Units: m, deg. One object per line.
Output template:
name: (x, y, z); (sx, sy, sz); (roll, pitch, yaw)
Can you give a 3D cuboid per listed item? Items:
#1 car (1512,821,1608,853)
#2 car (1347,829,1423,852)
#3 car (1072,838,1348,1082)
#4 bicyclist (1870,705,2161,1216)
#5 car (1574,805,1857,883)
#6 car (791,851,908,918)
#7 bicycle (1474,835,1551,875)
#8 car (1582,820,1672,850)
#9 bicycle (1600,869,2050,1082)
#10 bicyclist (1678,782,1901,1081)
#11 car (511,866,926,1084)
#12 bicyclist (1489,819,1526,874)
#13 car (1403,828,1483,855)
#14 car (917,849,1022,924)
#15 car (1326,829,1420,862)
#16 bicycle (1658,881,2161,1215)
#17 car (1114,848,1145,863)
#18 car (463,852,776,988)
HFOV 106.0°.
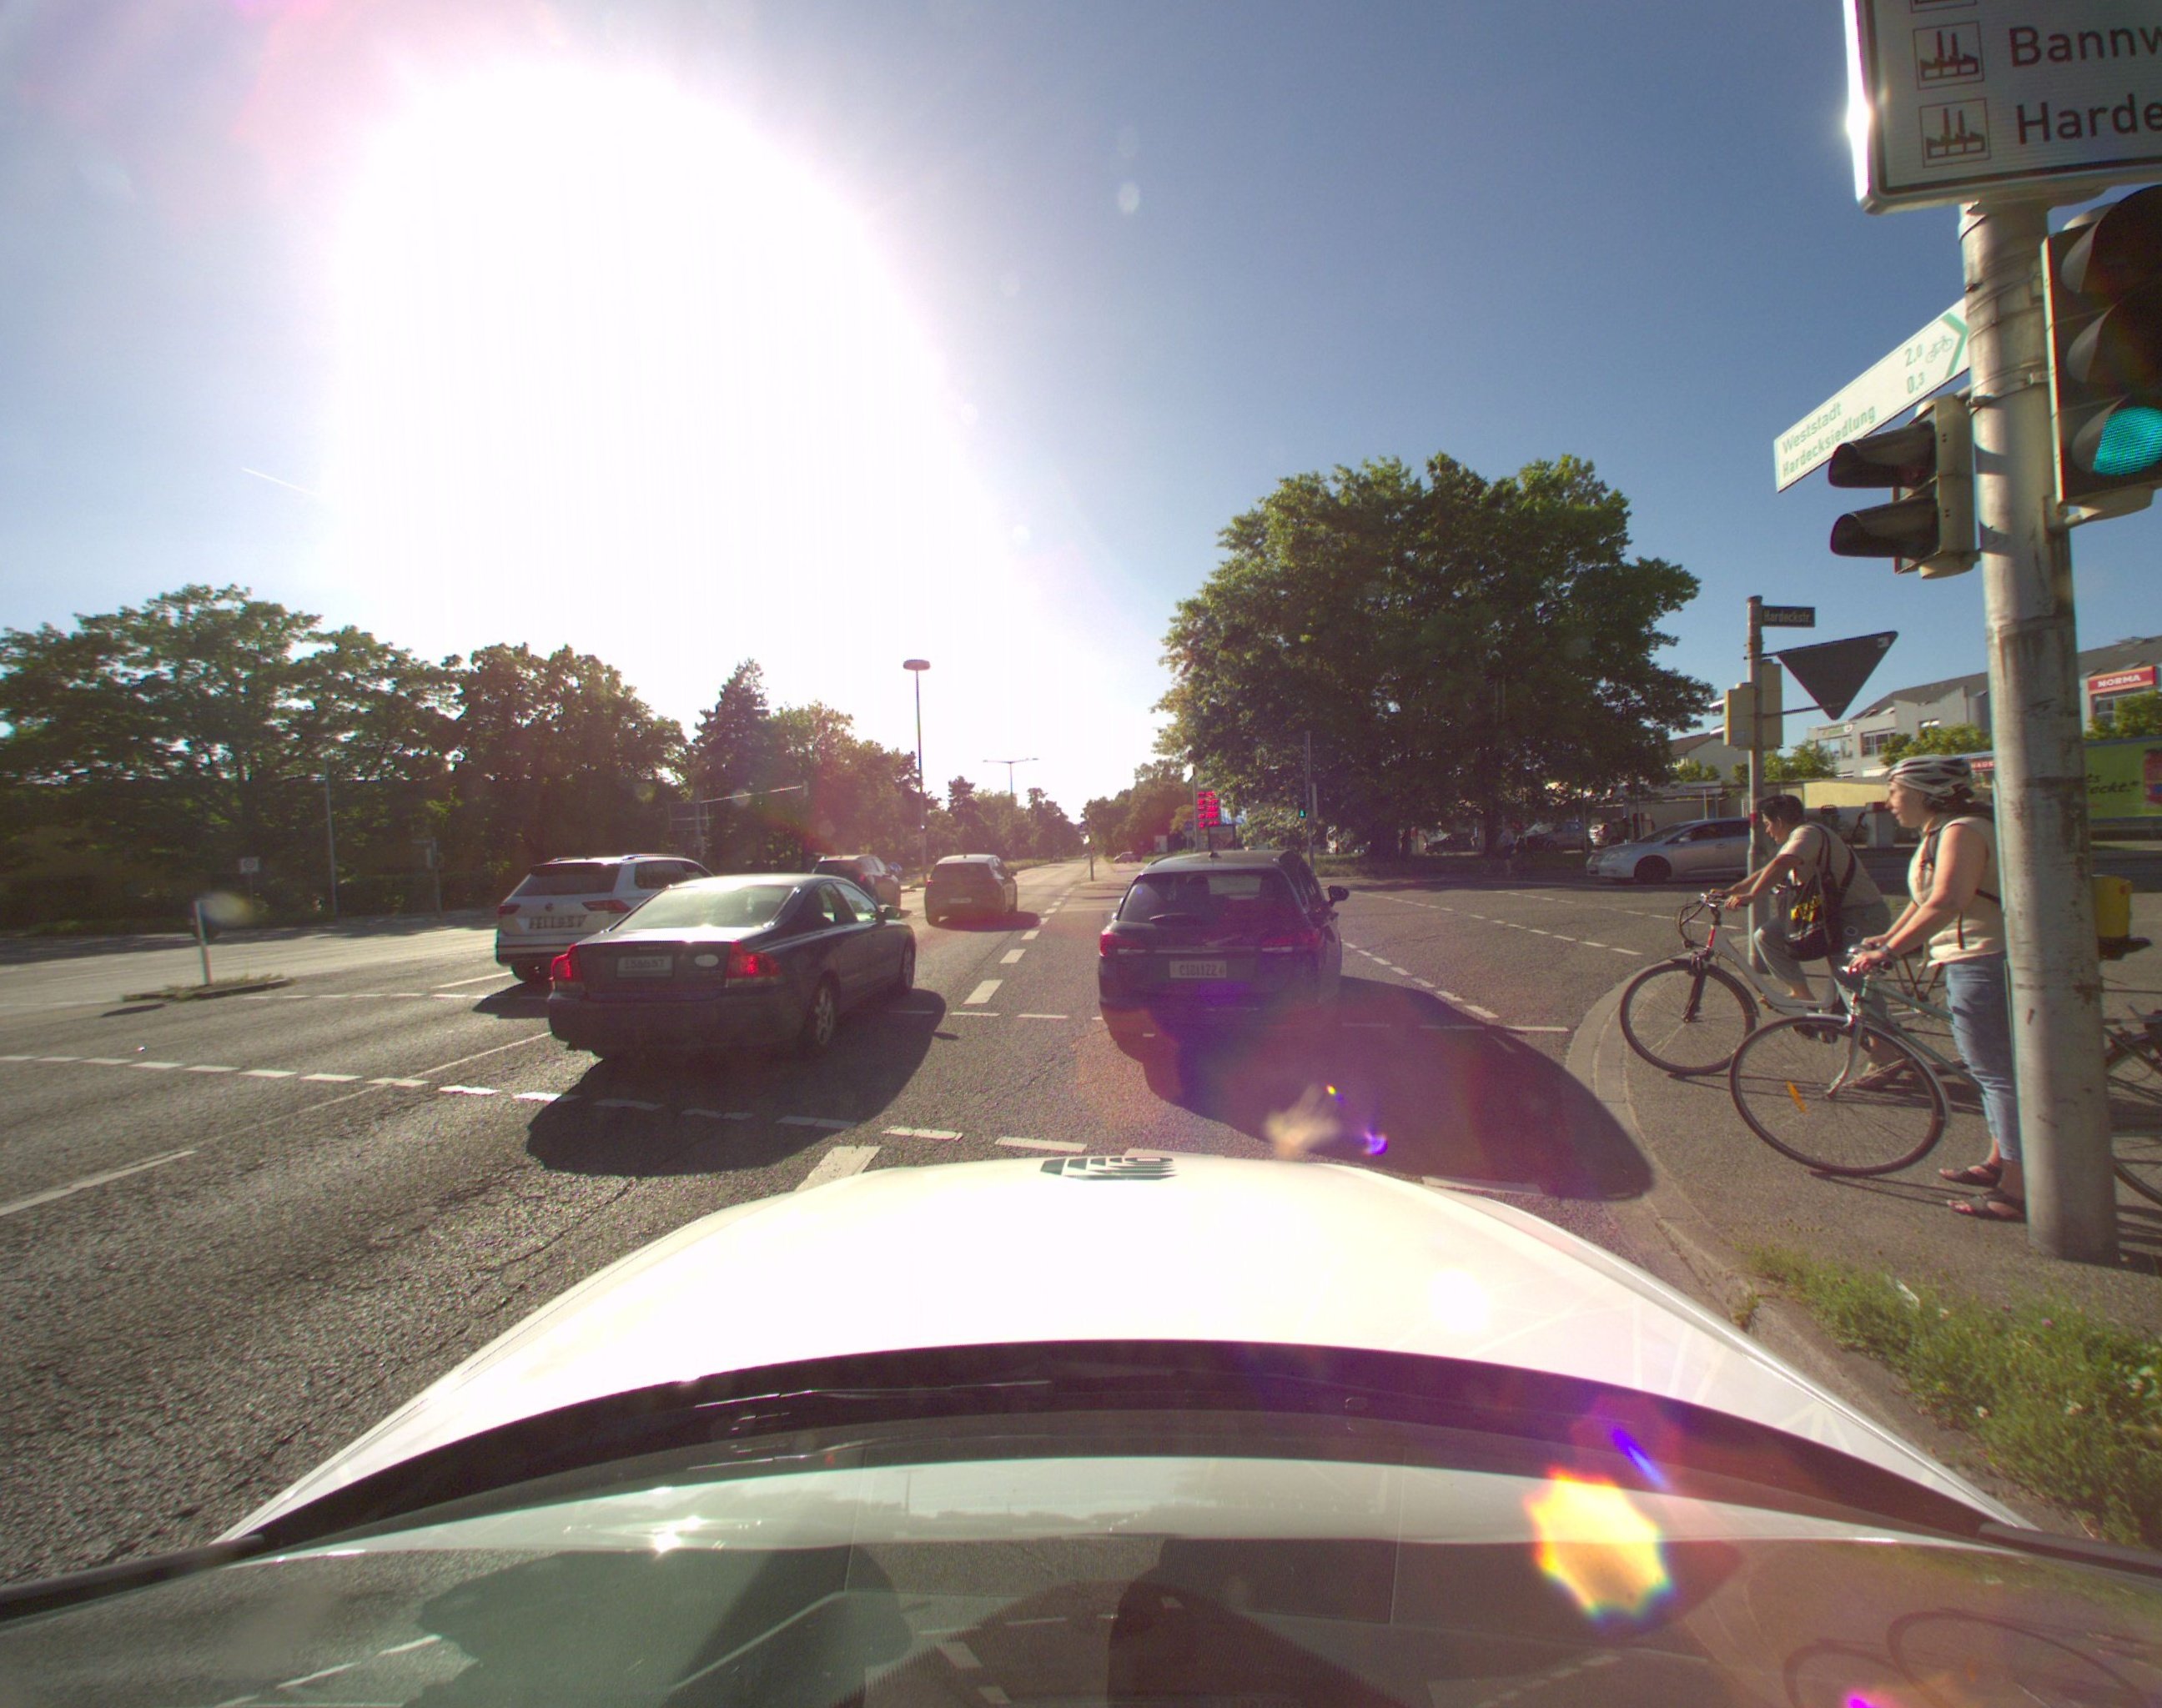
car: (21.933, -0.749, 37.320); (4.003, 1.376, 1.747); (0, 0, -23)
car: (18.302, -0.800, 49.106); (3.987, 1.335, 1.793); (-1, 0, -10)
car: (1.439, 0.651, 7.395); (1.748, 1.491, 4.311); (-2, 1, 17)
bicyclist: (3.514, 0.367, 3.085); (0.578, 1.697, 0.530); (-7, -4, 41)
car: (14.516, -0.199, 18.959); (4.840, 1.489, 1.849); (-3, -1, 13)
car: (-6.298, 0.780, 22.724); (1.903, 1.653, 4.366); (-1, 0, 1)
bicycle: (13.352, 0.031, 25.227); (2.008, 1.141, 0.530); (-3, 0, 7)
car: (31.769, -1.091, 47.465); (3.974, 1.607, 2.000); (-1, 0, 0)
bicycle: (4.253, 0.685, 4.876); (1.846, 1.077, 0.534); (-5, -4, 33)
bicyclist: (4.197, 0.451, 4.902); (0.797, 1.635, 0.546); (-6, -4, 32)
car: (-2.847, 0.842, 7.635); (1.830, 1.395, 4.366); (-1, 0, 1)
bicyclist: (13.213, -0.233, 25.250); (0.823, 1.641, 0.544); (-3, 0, 7)
car: (20.491, -0.698, 46.118); (3.985, 1.512, 1.527); (-1, 0, -9)
car: (-2.583, 0.715, 19.930); (1.830, 1.588, 4.366); (-2, 0, 1)
car: (19.481, -0.565, 54.490); (5.616, 2.099, 2.000); (-1, 0, 0)
bicycle: (3.449, 0.690, 3.157); (1.846, 1.076, 0.534); (-7, -5, 41)
car: (6.445, 0.247, 109.473); (2.010, 2.014, 3.953); (0, 0, -39)
car: (-6.495, 0.823, 12.176); (1.934, 1.653, 4.370); (-1, 0, 4)
